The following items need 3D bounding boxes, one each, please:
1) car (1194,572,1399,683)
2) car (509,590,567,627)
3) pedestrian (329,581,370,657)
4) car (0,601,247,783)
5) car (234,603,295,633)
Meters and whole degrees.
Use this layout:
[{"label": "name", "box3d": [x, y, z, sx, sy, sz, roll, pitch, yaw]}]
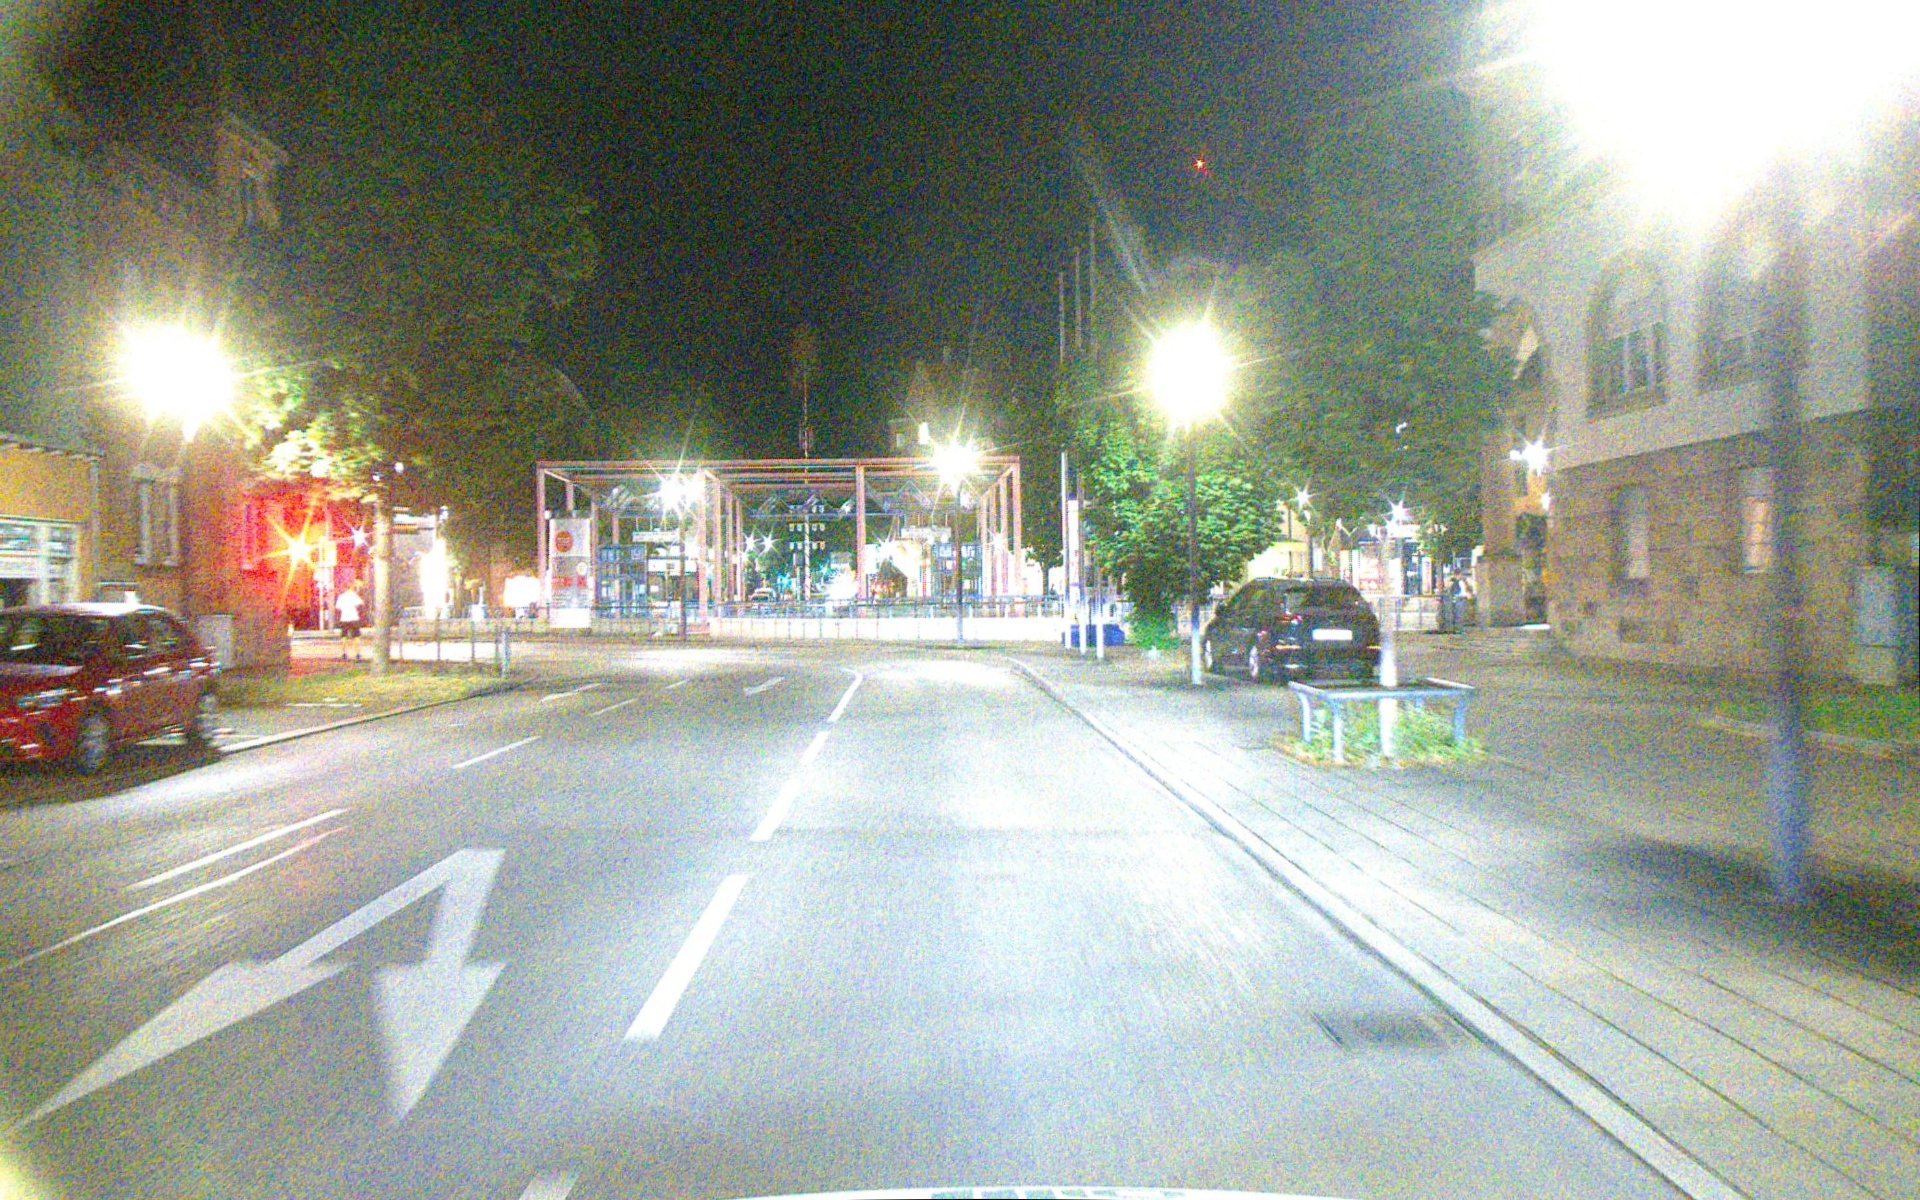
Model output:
[{"label": "car", "box3d": [4.904, 0.363, 24.801, 1.700, 1.485, 4.722, -1, 0, -6]}, {"label": "car", "box3d": [-19.492, 0.373, 76.553, 1.955, 1.601, 4.323, -1, 0, -6]}, {"label": "pedestrian", "box3d": [-15.044, 0.470, 40.752, 0.680, 1.854, 0.721, -1, -2, 42]}, {"label": "car", "box3d": [-8.384, 0.757, 15.554, 1.749, 1.440, 4.124, 0, 0, -3]}, {"label": "car", "box3d": [-39.540, 1.005, 94.015, 1.986, 1.601, 3.594, -2, 1, -45]}]
